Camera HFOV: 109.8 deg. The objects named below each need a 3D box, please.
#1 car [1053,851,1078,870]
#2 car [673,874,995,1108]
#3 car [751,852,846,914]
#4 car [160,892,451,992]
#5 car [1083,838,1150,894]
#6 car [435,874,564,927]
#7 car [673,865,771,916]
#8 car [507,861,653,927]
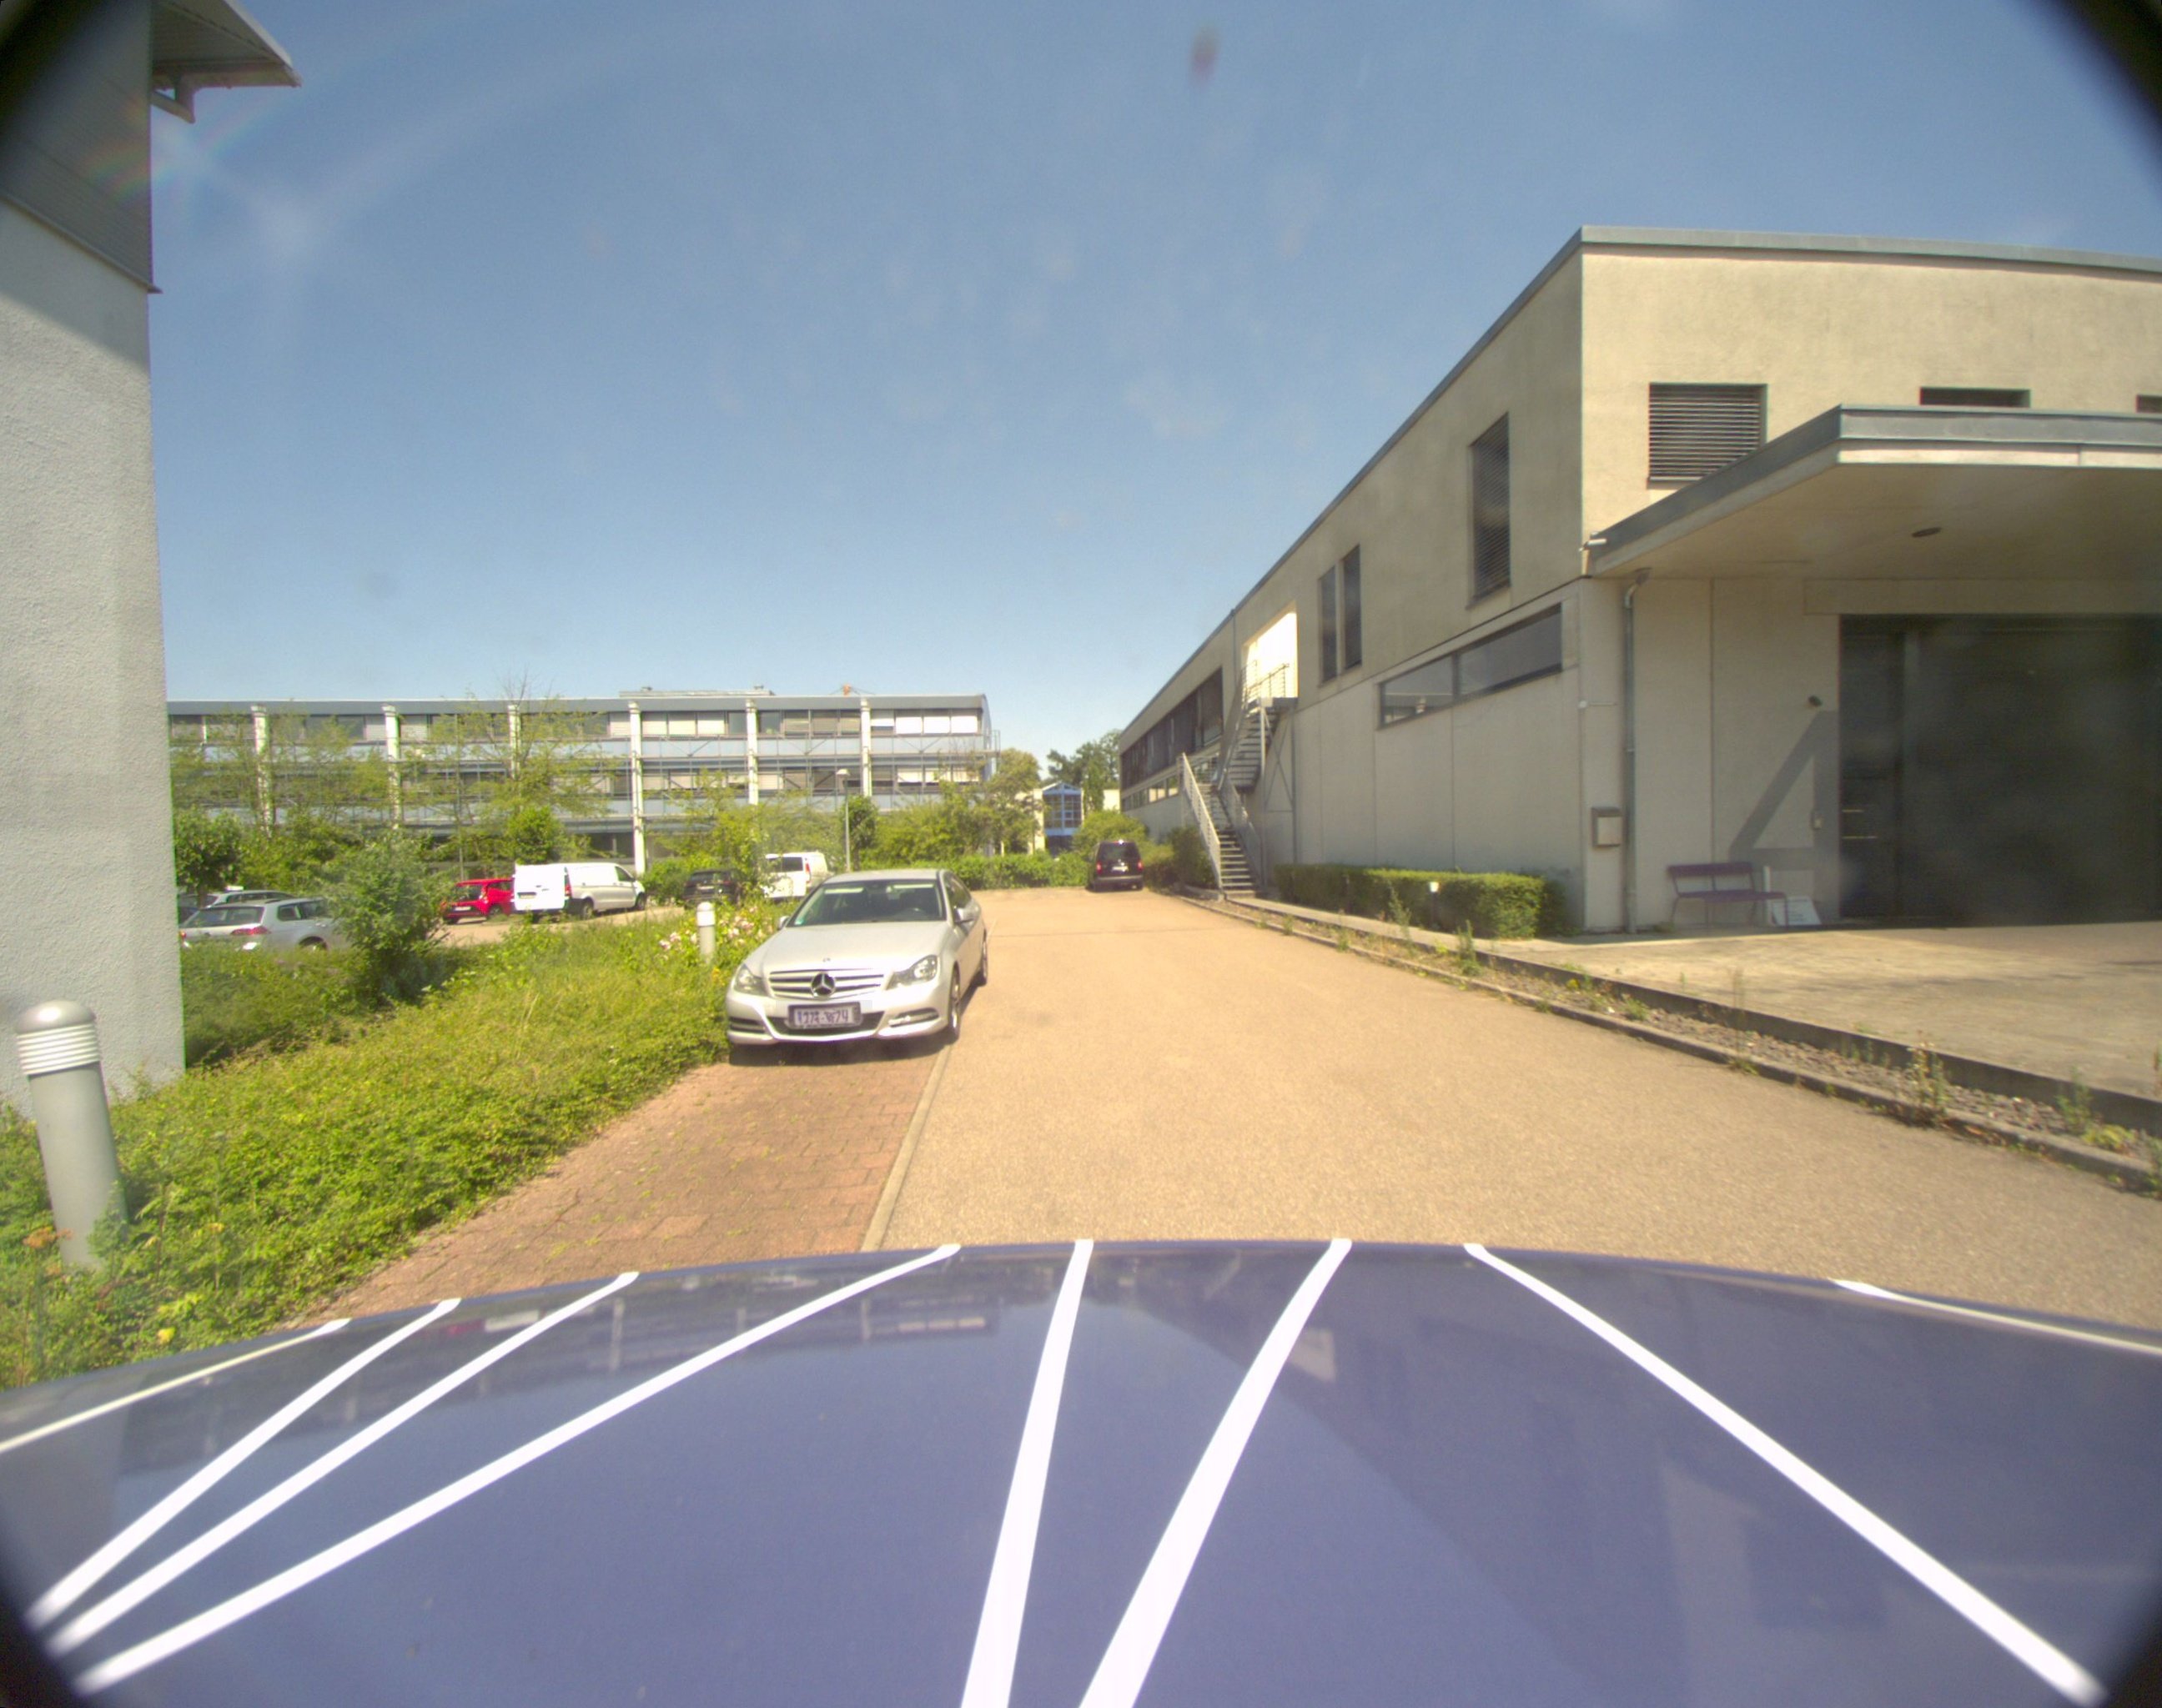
[{"bbox_3d":[-1.468,0.602,71.184,1.837,1.558,3.996,-2,2,-8],"label":"car"},{"bbox_3d":[-1.980,1.023,7.554,1.804,1.390,4.418,-2,1,-2],"label":"car"},{"bbox_3d":[-9.811,0.920,26.776,1.868,1.849,4.674,-3,1,-5],"label":"car"},{"bbox_3d":[-16.121,1.721,16.230,1.856,1.511,4.425,-3,0,-5],"label":"car"},{"bbox_3d":[1.243,0.389,28.420,1.868,1.849,4.226,-3,1,-5],"label":"car"},{"bbox_3d":[-20.459,1.592,26.975,1.624,1.479,3.919,-3,1,-3],"label":"car"},{"bbox_3d":[-12.580,1.229,26.926,1.739,1.475,4.195,-3,1,-5],"label":"car"},{"bbox_3d":[-17.041,1.264,26.195,1.856,1.845,4.932,-3,1,-3],"label":"car"}]
